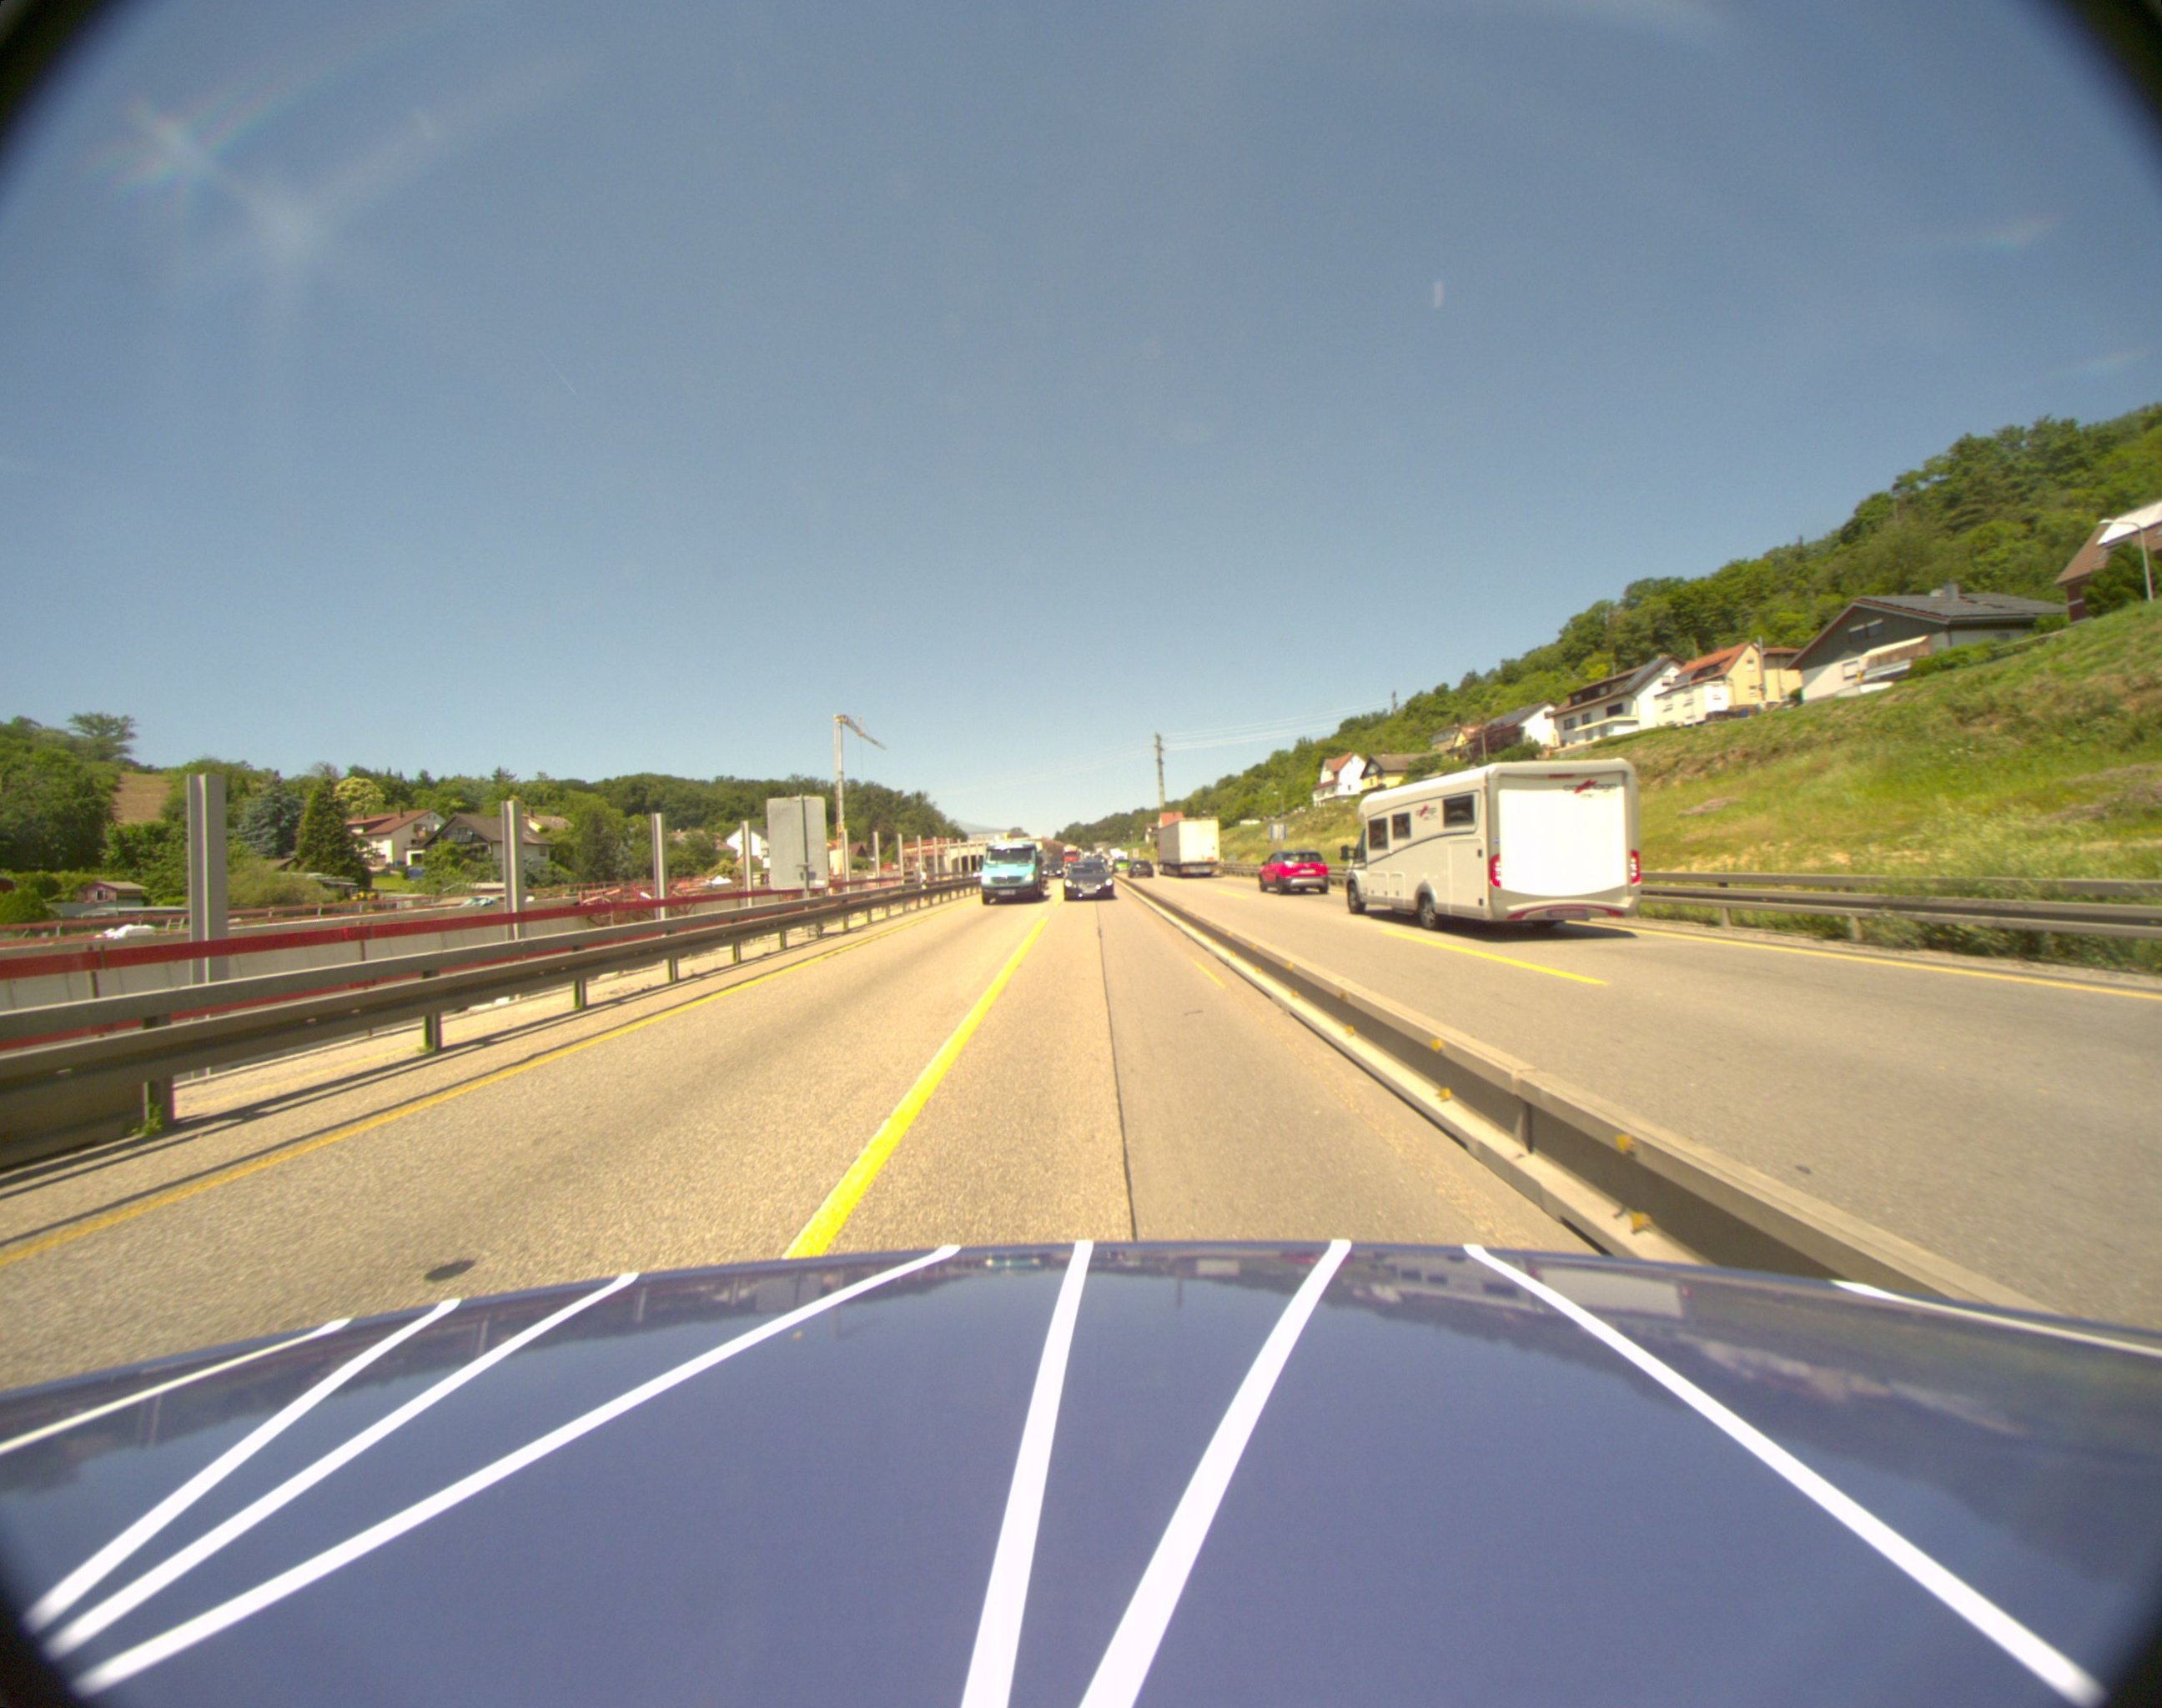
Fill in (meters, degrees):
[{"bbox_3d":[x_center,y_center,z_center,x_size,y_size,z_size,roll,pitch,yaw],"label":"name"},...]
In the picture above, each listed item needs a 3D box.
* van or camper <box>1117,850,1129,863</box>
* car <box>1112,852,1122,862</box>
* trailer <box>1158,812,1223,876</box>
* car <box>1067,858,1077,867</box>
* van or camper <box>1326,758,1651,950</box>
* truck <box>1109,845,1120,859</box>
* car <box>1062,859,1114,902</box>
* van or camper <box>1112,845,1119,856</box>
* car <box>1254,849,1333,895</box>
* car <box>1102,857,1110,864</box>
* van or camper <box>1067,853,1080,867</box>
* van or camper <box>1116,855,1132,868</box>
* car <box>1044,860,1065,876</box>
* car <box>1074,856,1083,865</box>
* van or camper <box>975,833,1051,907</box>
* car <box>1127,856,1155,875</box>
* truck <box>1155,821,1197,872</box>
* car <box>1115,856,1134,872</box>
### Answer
[{"bbox_3d":[8.964,0.492,162.521,2.382,2.634,6.052,-2,0,1],"label":"van or camper"},{"bbox_3d":[5.886,0.471,124.976,1.677,1.468,4.540,0,1,2],"label":"car"},{"bbox_3d":[7.870,-0.609,56.676,2.864,4.100,13.437,-2,0,0],"label":"trailer"},{"bbox_3d":[-1.543,1.469,133.608,1.679,1.346,3.486,-4,0,1],"label":"car"},{"bbox_3d":[7.238,0.011,15.005,2.340,2.761,7.517,-2,0,0],"label":"van or camper"},{"bbox_3d":[8.686,-0.500,197.984,2.385,3.412,9.306,0,0,1],"label":"truck"},{"bbox_3d":[0.289,0.946,28.770,1.746,1.420,4.000,-4,0,1],"label":"car"},{"bbox_3d":[9.564,-1.011,208.274,1.566,2.744,5.182,-4,0,1],"label":"van or camper"},{"bbox_3d":[7.761,0.620,28.125,1.721,1.542,4.264,-2,0,0],"label":"car"},{"bbox_3d":[5.460,1.370,167.898,1.660,1.420,3.176,-4,0,1],"label":"car"},{"bbox_3d":[-1.503,1.213,148.834,2.321,2.513,4.528,-4,0,1],"label":"van or camper"},{"bbox_3d":[5.763,1.039,102.180,1.832,1.658,3.888,-2,0,1],"label":"van or camper"},{"bbox_3d":[-2.290,1.234,66.786,1.611,1.324,3.496,-1,0,1],"label":"car"},{"bbox_3d":[-0.492,1.347,156.616,1.744,1.679,3.640,-2,0,1],"label":"car"},{"bbox_3d":[-2.468,0.573,29.856,2.097,2.458,7.671,-2,0,1],"label":"van or camper"},{"bbox_3d":[4.610,0.880,58.731,1.772,1.355,4.411,-2,0,0],"label":"car"},{"bbox_3d":[7.935,-0.591,64.140,2.828,4.100,4.598,-2,0,0],"label":"truck"},{"bbox_3d":[4.578,1.058,80.511,1.758,1.499,4.000,-4,0,1],"label":"car"}]
